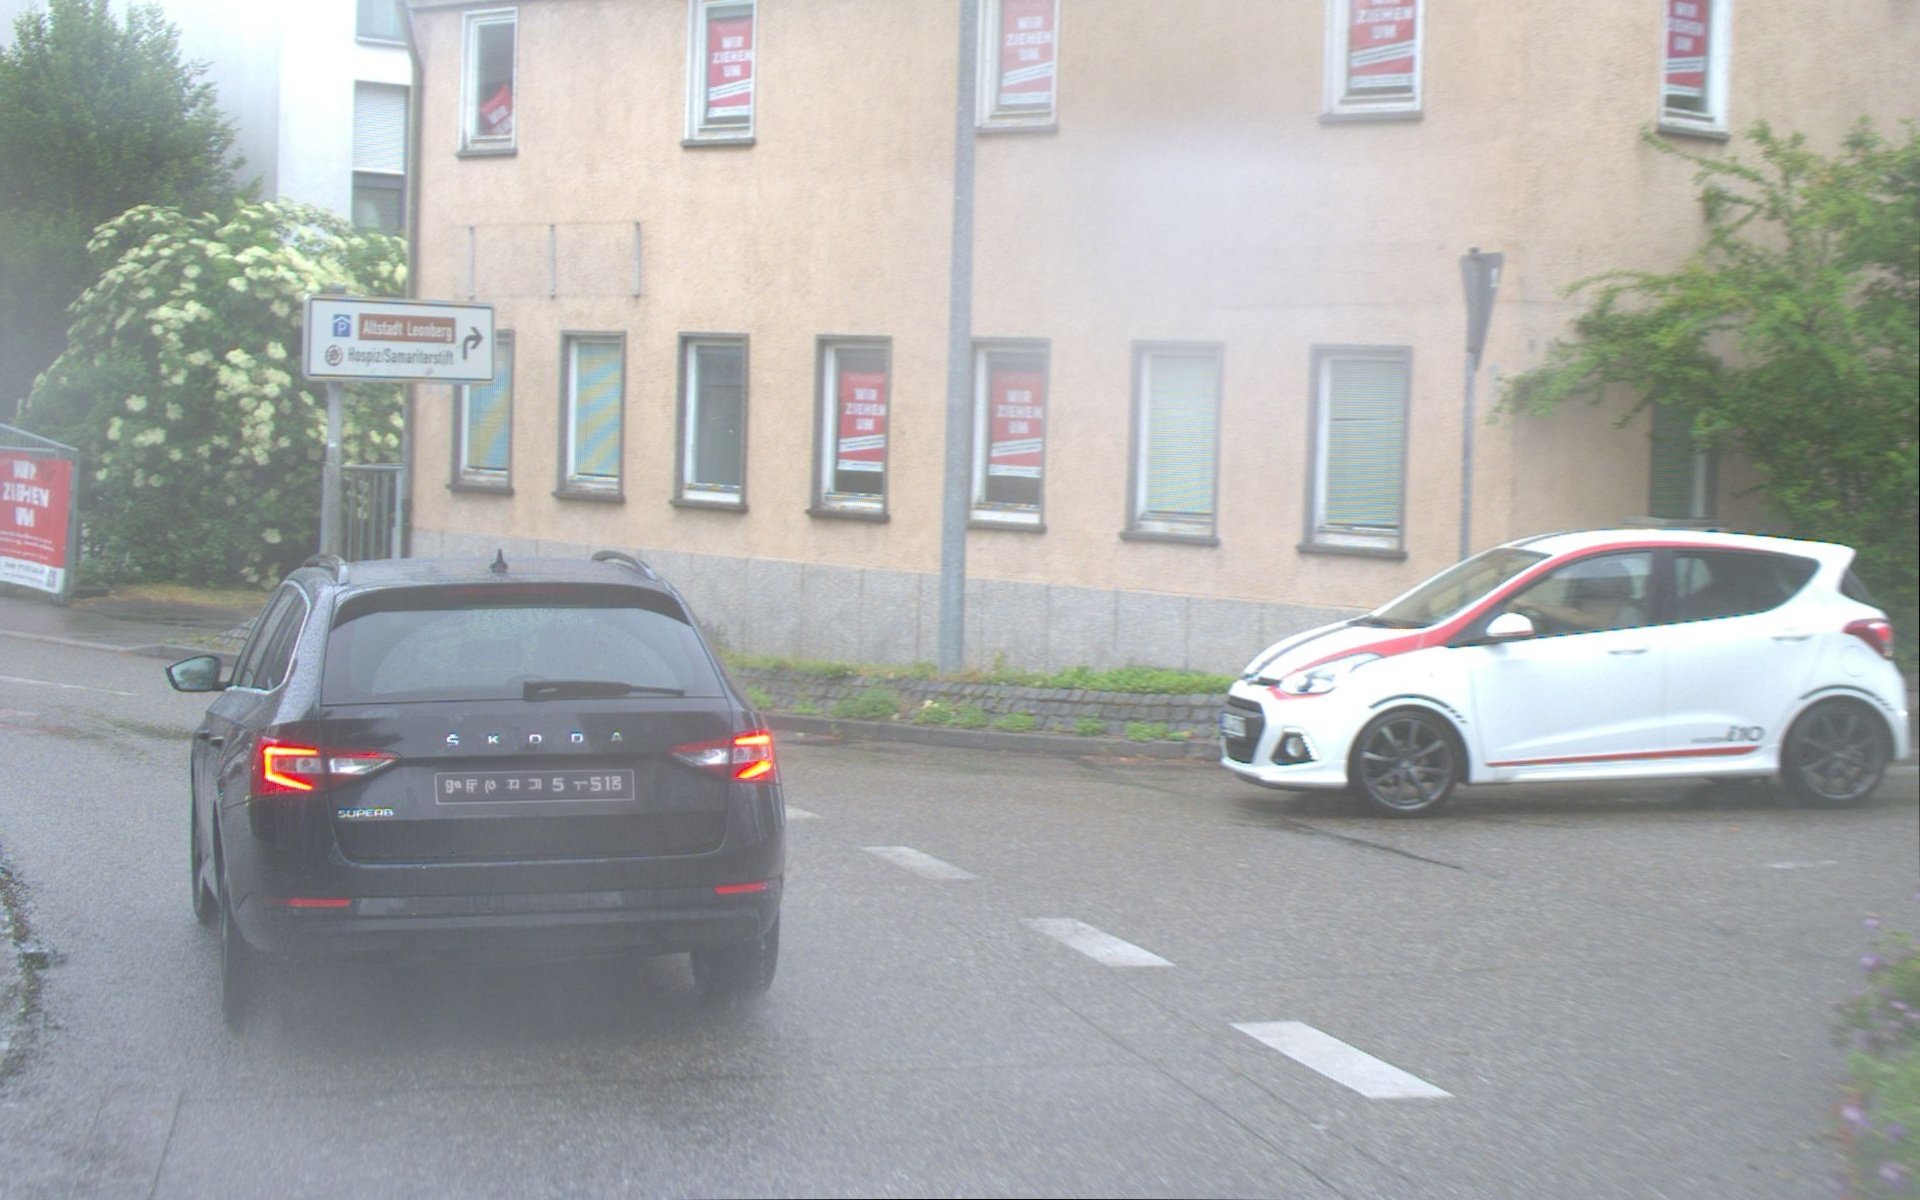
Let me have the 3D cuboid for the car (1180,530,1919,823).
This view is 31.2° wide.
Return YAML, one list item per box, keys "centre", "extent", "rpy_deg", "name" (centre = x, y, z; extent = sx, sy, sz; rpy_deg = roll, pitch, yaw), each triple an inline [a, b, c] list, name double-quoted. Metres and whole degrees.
- centre: [3.236, 0.371, 18.877]
  extent: [3.750, 1.448, 1.713]
  rpy_deg: [-1, 3, -10]
  name: "car"

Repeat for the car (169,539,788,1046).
- centre: [-1.894, 0.577, 12.320]
  extent: [1.781, 1.478, 4.247]
  rpy_deg: [0, 0, -14]
  name: "car"
